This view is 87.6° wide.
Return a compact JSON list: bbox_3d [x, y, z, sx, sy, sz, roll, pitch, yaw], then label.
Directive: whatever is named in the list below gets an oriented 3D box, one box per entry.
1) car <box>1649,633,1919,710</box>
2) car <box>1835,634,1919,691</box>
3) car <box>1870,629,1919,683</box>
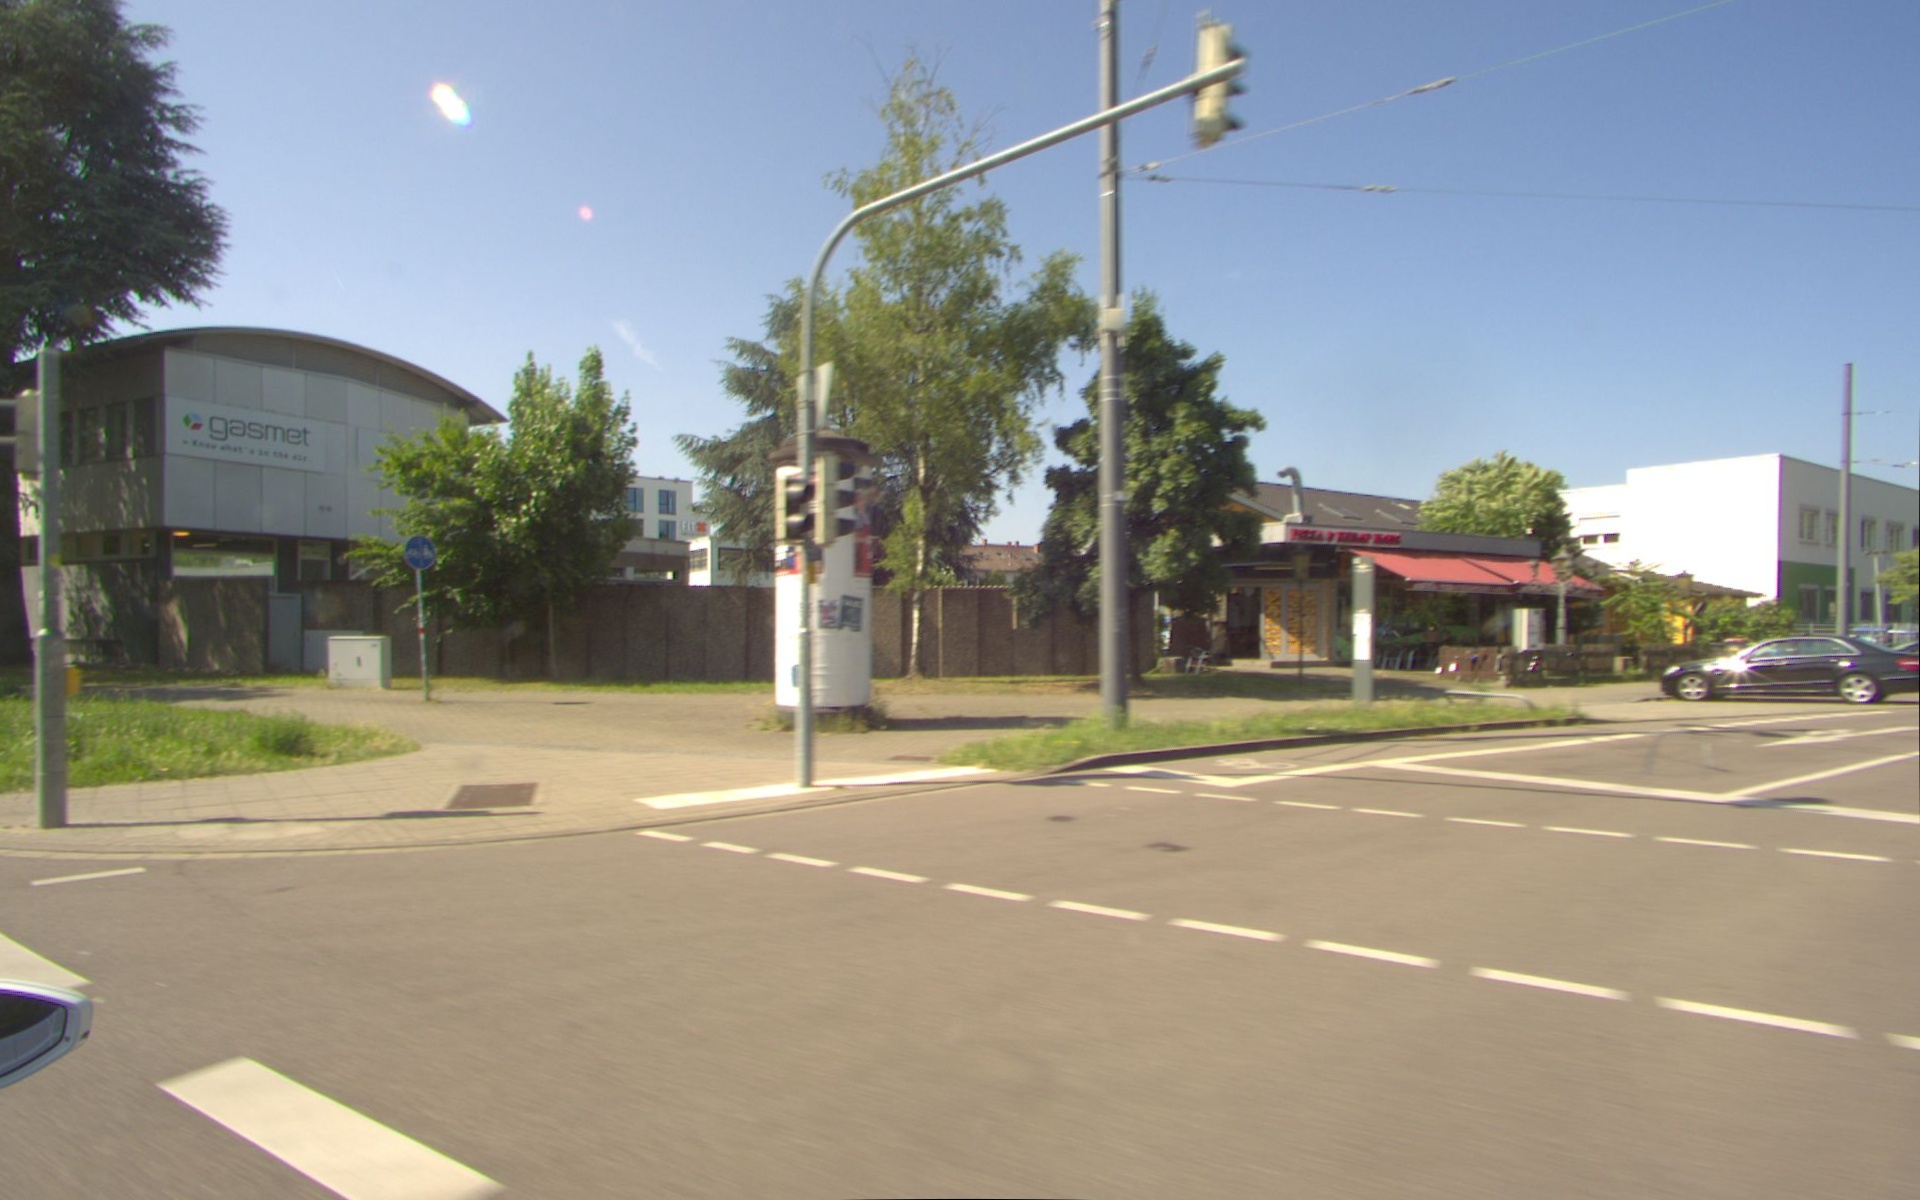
[{"bbox_3d":[18.477,1.481,22.050,2.118,1.518,5.080,1,-2,-38],"label":"car"},{"bbox_3d":[27.147,1.741,27.638,4.143,1.518,2.134,0,-1,30],"label":"car"},{"bbox_3d":[31.381,1.776,31.153,4.143,1.640,2.134,0,-1,30],"label":"car"}]
